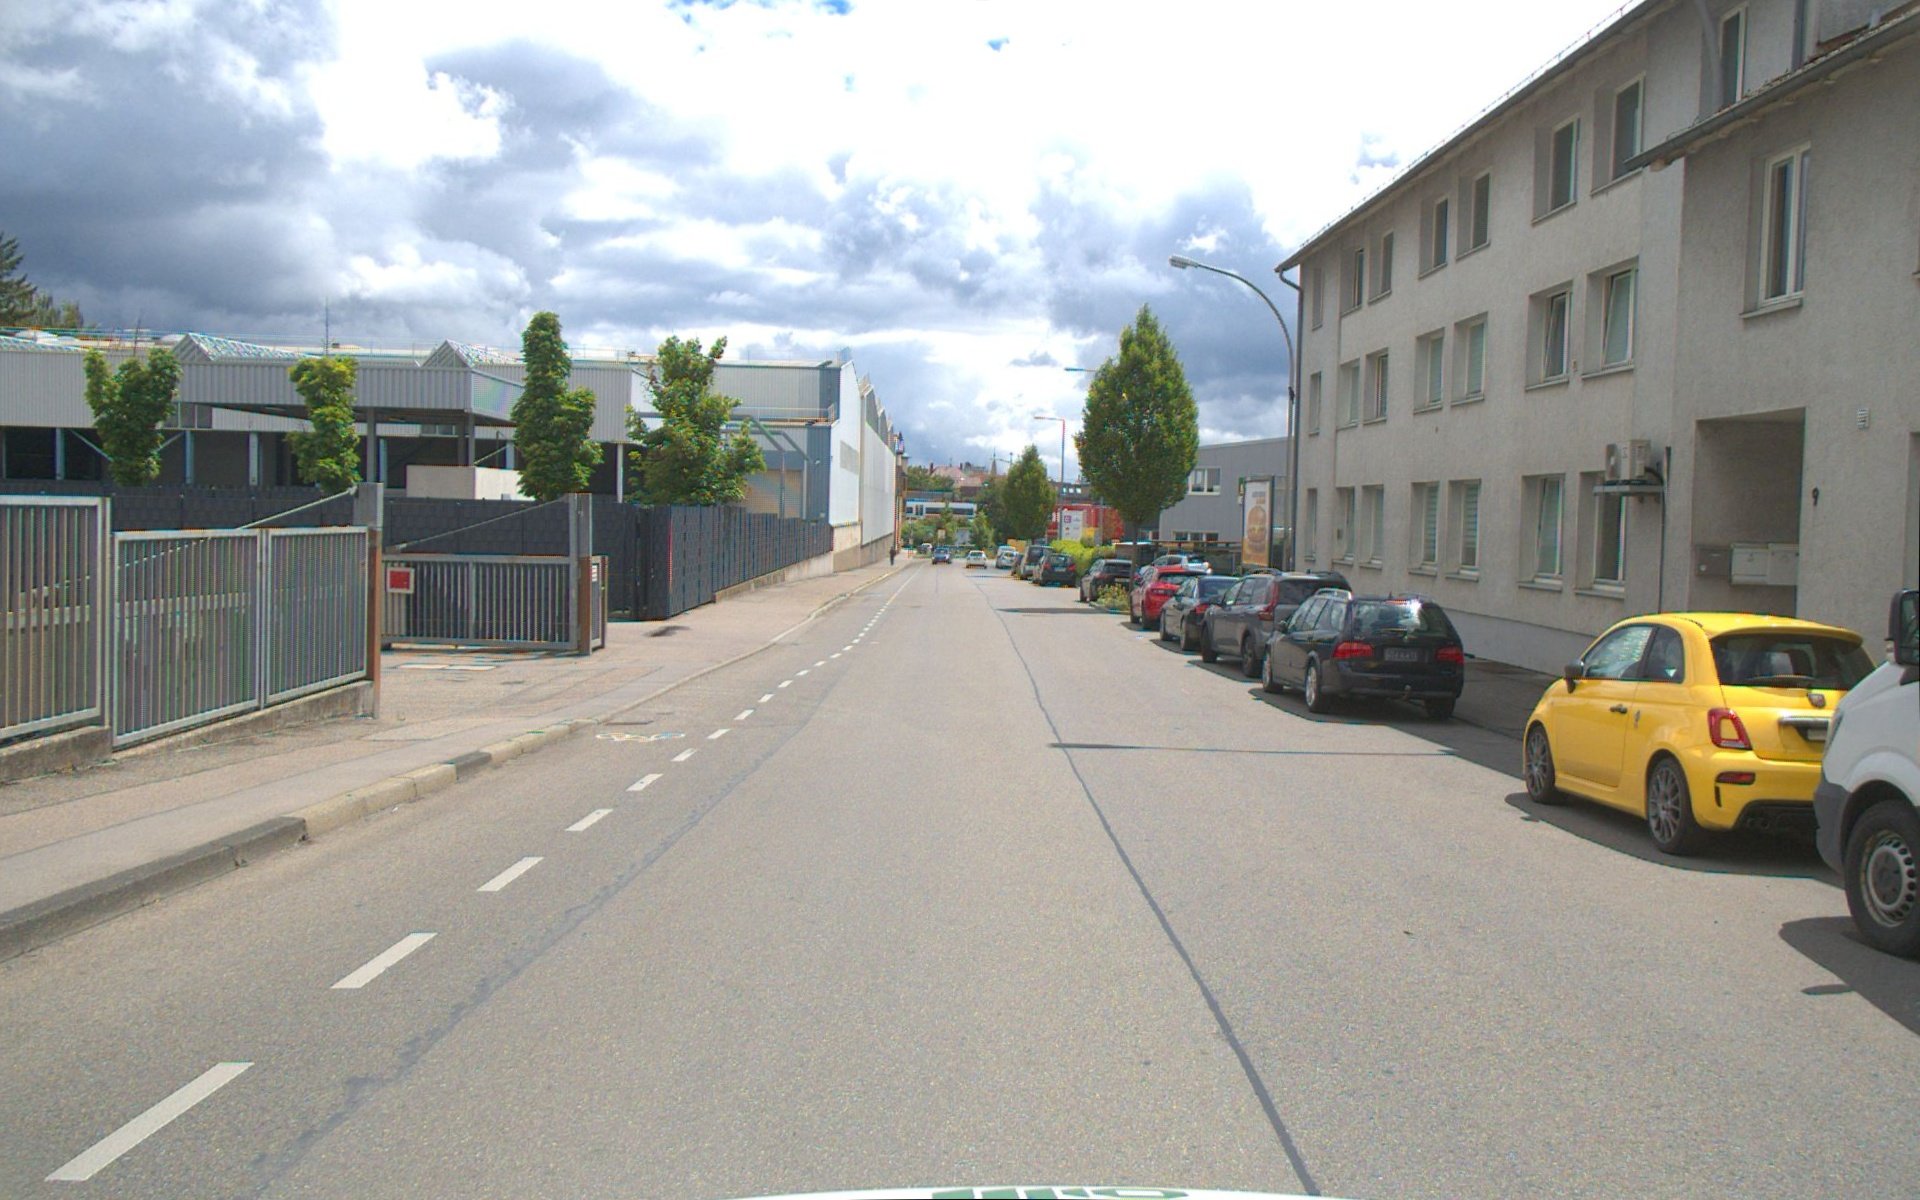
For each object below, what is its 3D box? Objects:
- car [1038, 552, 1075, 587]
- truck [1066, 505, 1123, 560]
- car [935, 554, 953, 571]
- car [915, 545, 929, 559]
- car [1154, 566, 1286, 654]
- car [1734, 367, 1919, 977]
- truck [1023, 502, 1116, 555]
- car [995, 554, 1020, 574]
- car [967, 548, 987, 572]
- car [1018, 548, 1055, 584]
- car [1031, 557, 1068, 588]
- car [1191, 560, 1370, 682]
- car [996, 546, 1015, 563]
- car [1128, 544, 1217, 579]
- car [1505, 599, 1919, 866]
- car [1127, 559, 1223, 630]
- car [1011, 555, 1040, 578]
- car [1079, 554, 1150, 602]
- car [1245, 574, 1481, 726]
[{"bbox_3d":[4.750,-1.509,82.157,1.645,1.666,4.124,1,1,1],"label":"car"},{"bbox_3d":[11.982,-6.018,148.443,2.532,4.527,7.830,1,0,-15],"label":"truck"},{"bbox_3d":[-1.588,-3.694,162.522,1.684,1.583,4.287,-2,0,-1],"label":"car"},{"bbox_3d":[-4.772,-6.026,208.127,1.815,1.512,3.999,1,0,-1],"label":"car"},{"bbox_3d":[5.061,0.130,32.782,1.700,1.448,4.860,2,2,-1],"label":"car"},{"bbox_3d":[5.290,0.324,5.301,1.992,2.687,7.280,1,0,-2],"label":"car"},{"bbox_3d":[10.241,-6.684,155.141,8.275,4.752,2.583,1,0,20],"label":"truck"},{"bbox_3d":[4.058,-3.080,141.256,1.668,1.554,3.735,4,2,-4],"label":"car"},{"bbox_3d":[1.434,-3.301,136.691,1.535,1.817,3.605,1,0,-1],"label":"car"},{"bbox_3d":[4.441,-2.024,97.224,1.831,2.025,5.143,1,1,-1],"label":"car"},{"bbox_3d":[4.707,-1.484,87.276,1.621,1.567,4.734,1,1,-1],"label":"car"},{"bbox_3d":[5.169,0.261,27.326,1.644,1.666,4.793,3,2,-4],"label":"car"},{"bbox_3d":[4.142,-4.184,151.984,1.666,1.554,3.739,2,1,1],"label":"car"},{"bbox_3d":[9.721,-1.766,75.845,1.708,1.488,4.018,-4,2,-39],"label":"car"},{"bbox_3d":[5.233,0.781,11.598,1.560,1.473,3.790,1,1,0],"label":"car"},{"bbox_3d":[5.081,-0.183,39.543,1.699,1.498,4.262,2,2,0],"label":"car"},{"bbox_3d":[4.348,-2.265,110.865,1.679,1.499,4.511,1,1,-1],"label":"car"},{"bbox_3d":[5.137,-0.759,55.519,1.755,1.491,4.707,1,1,-2],"label":"car"},{"bbox_3d":[5.113,0.542,21.745,1.670,1.536,5.087,3,2,-2],"label":"car"}]
